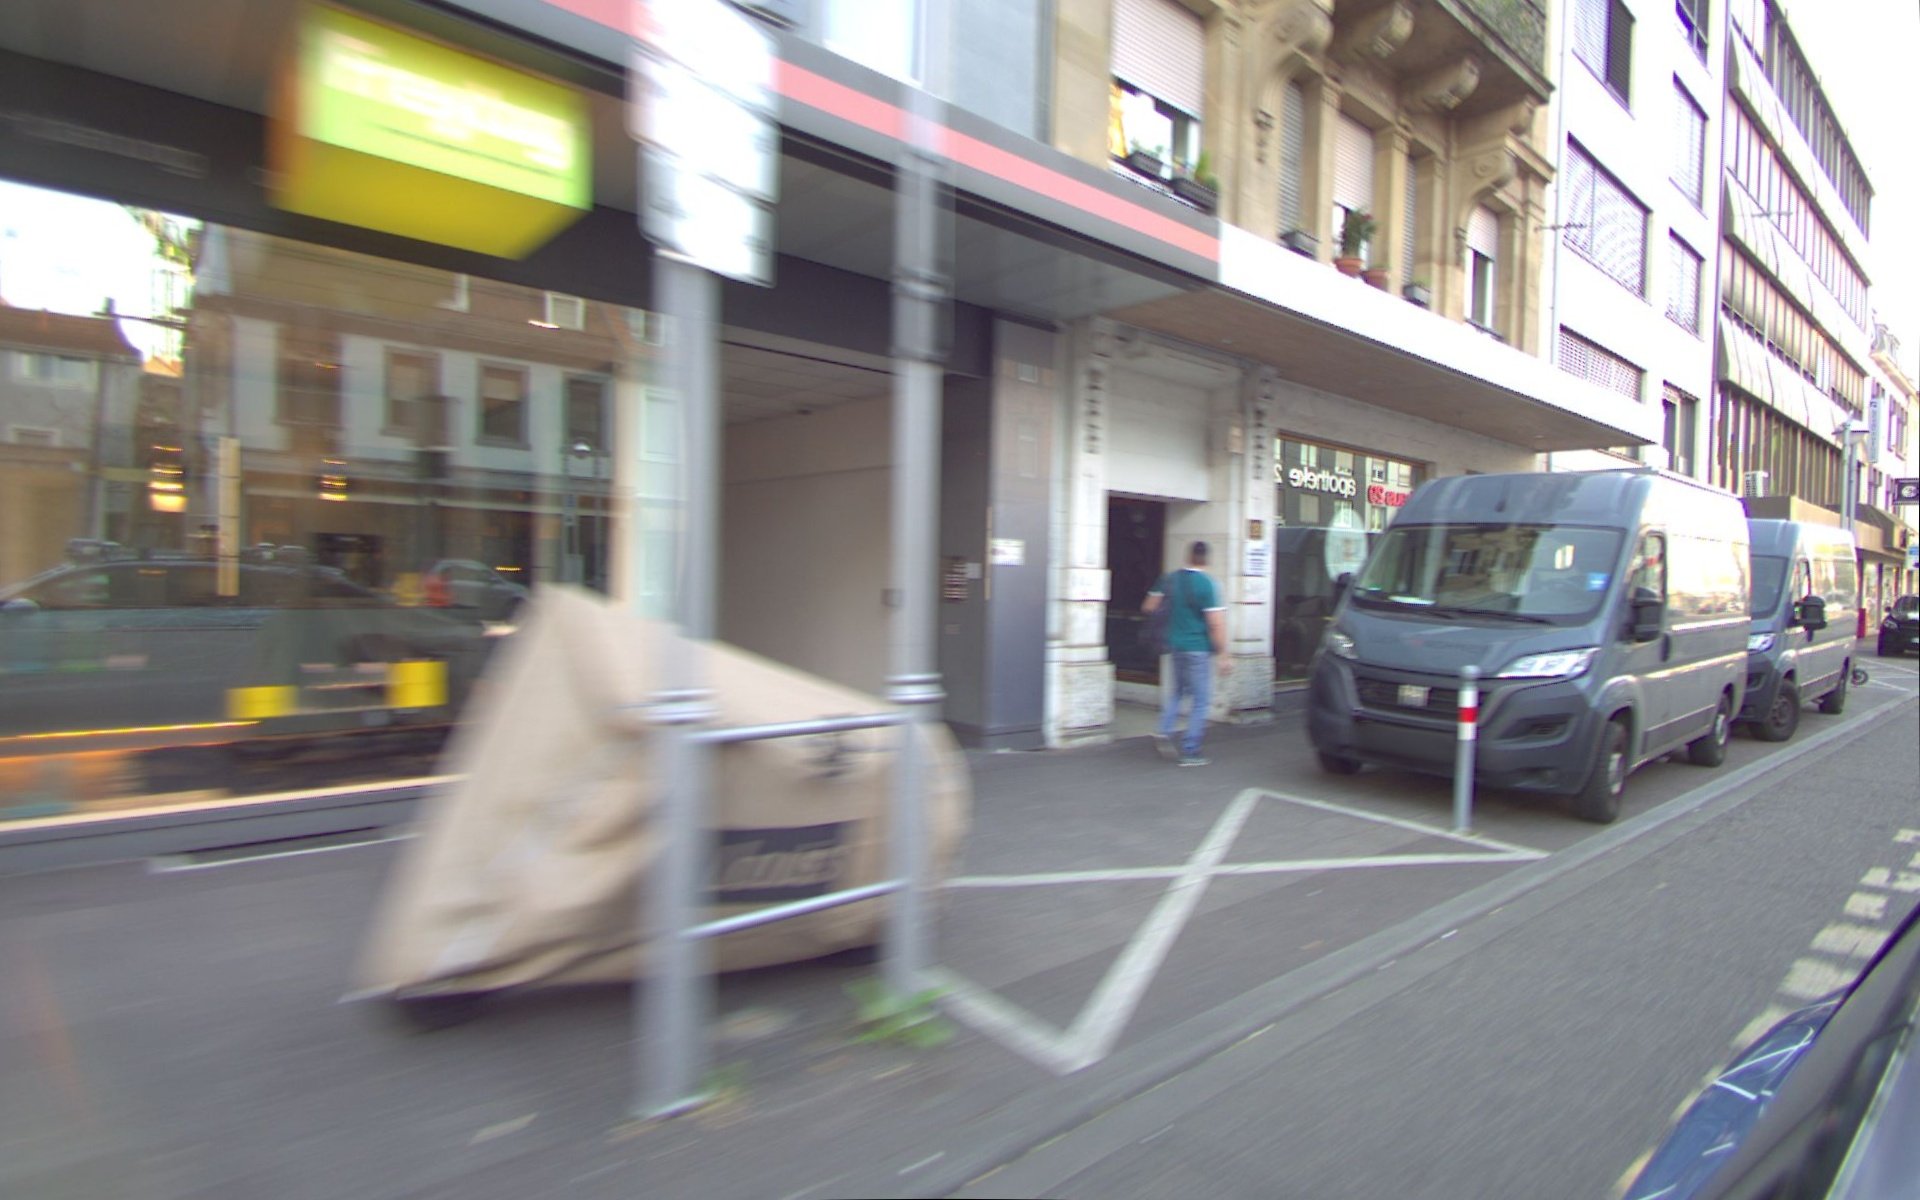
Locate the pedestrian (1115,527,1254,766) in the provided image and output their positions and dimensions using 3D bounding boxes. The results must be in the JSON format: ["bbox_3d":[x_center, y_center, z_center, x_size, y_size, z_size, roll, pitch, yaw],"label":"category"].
[{"bbox_3d":[1.771,0.333,8.010,0.754,1.766,0.680,0,3,-41],"label":"pedestrian"}]

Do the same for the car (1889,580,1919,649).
[{"bbox_3d":[26.842,0.416,27.281,4.588,1.755,1.989,0,4,-40],"label":"car"}]

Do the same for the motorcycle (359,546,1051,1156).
[{"bbox_3d":[-0.763,0.588,3.253,1.965,1.434,0.816,1,2,-33],"label":"motorcycle"}]

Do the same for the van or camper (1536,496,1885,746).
[{"bbox_3d":[9.623,0.126,12.713,6.026,2.455,2.193,0,4,-41],"label":"van or camper"}]

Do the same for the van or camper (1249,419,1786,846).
[{"bbox_3d":[4.910,0.107,8.446,5.424,2.455,2.193,0,4,-42],"label":"van or camper"}]

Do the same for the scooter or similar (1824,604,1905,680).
[{"bbox_3d":[15.686,0.724,17.553,1.092,1.238,0.356,2,3,-8],"label":"scooter or similar"}]
